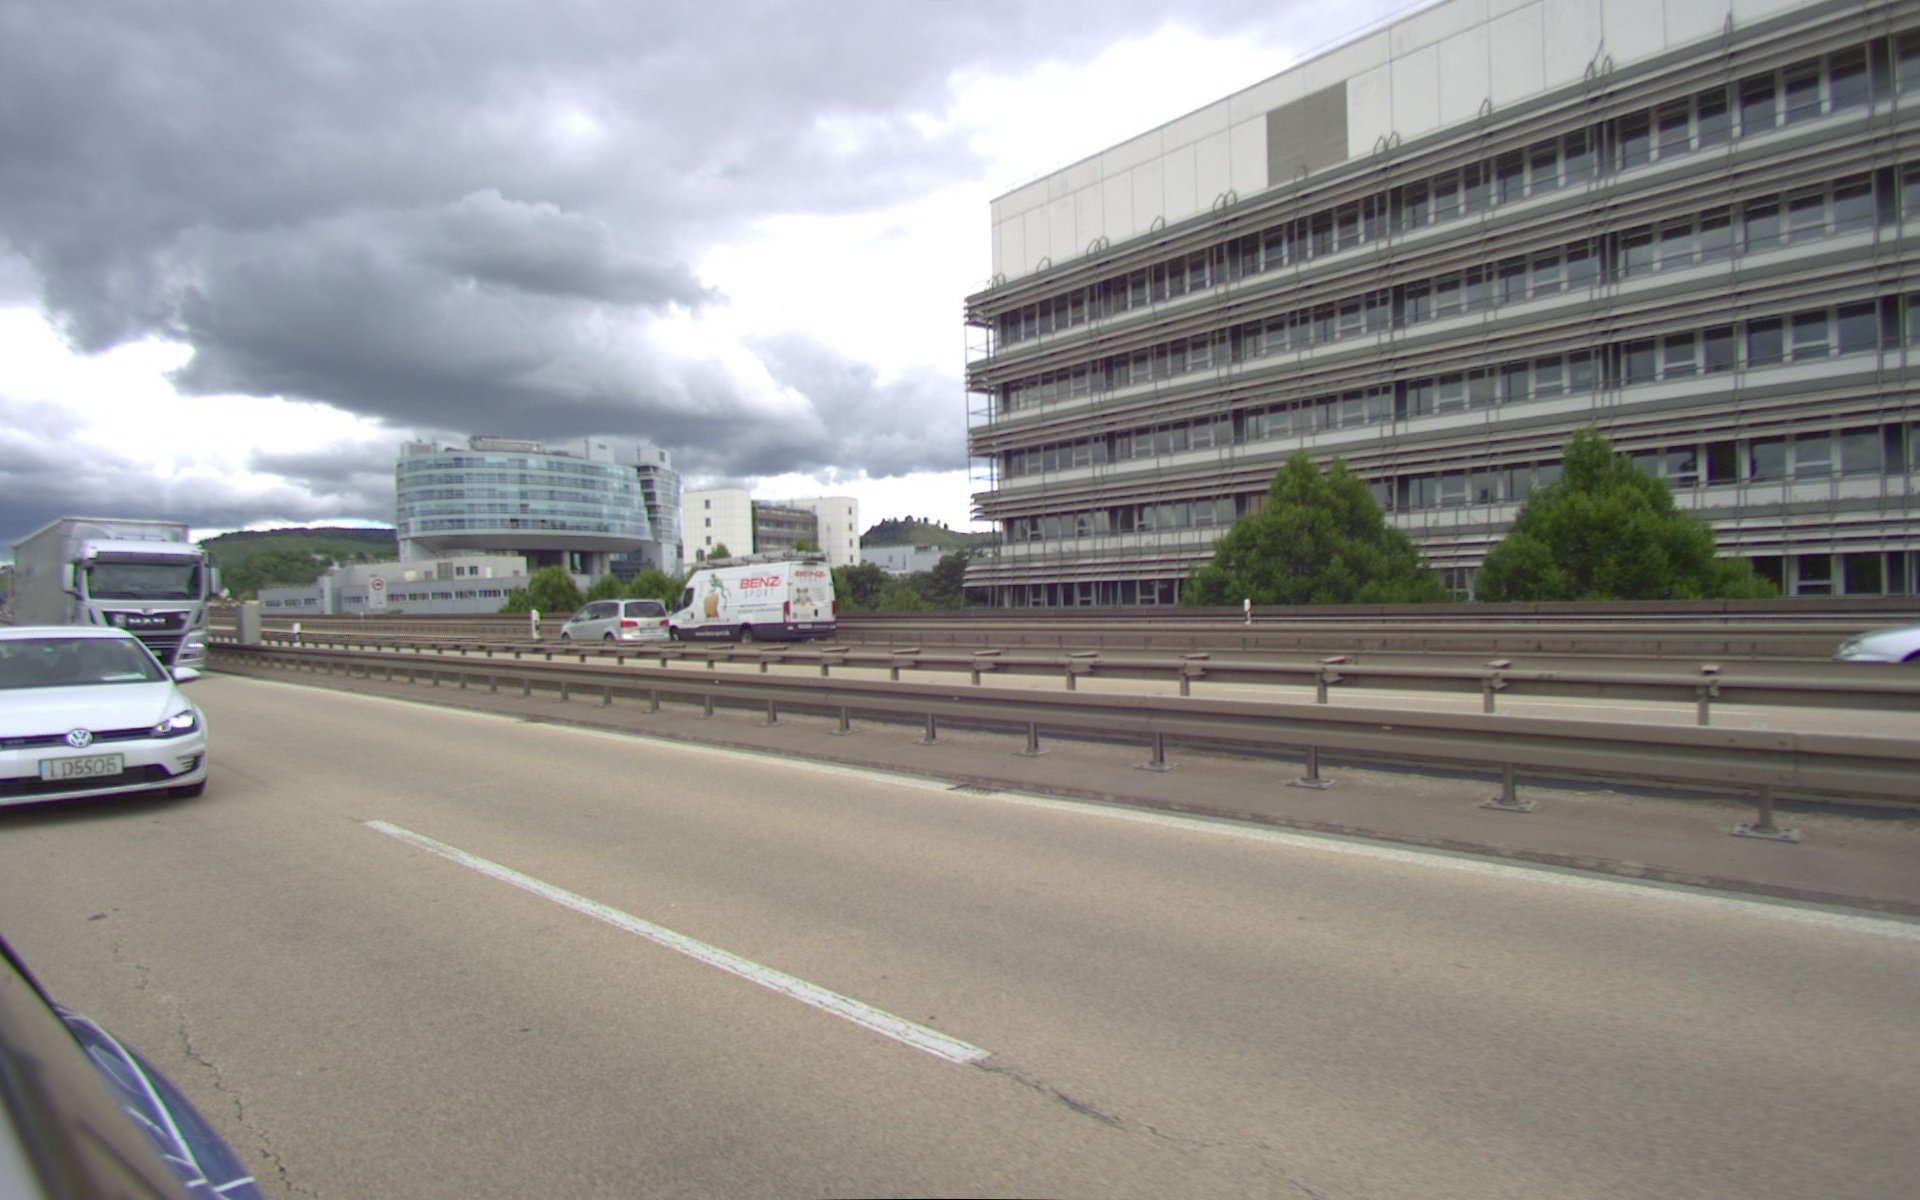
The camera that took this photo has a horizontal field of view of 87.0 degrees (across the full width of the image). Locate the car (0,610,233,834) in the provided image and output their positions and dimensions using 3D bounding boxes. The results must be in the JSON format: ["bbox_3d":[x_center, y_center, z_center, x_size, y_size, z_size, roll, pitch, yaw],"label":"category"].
[{"bbox_3d":[-7.797,0.859,8.628,4.062,1.519,1.904,-1,0,44],"label":"car"}]

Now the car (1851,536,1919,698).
[{"bbox_3d":[11.683,0.115,9.864,4.446,1.662,1.665,-2,0,42],"label":"car"}]

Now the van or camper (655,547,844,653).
[{"bbox_3d":[-6.828,0.056,32.110,7.118,3.031,2.147,-1,-1,43],"label":"van or camper"}]

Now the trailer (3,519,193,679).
[{"bbox_3d":[-26.655,-0.018,30.963,11.767,4.056,3.146,-1,1,44],"label":"trailer"}]

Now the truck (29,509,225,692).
[{"bbox_3d":[-21.087,-0.016,25.519,5.690,4.067,3.099,-1,1,44],"label":"truck"}]

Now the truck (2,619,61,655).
[{"bbox_3d":[-42.798,1.650,46.623,3.514,1.541,1.805,-1,0,44],"label":"truck"}]

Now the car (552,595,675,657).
[{"bbox_3d":[-10.408,0.735,30.241,4.313,1.662,1.664,-1,1,43],"label":"car"}]
